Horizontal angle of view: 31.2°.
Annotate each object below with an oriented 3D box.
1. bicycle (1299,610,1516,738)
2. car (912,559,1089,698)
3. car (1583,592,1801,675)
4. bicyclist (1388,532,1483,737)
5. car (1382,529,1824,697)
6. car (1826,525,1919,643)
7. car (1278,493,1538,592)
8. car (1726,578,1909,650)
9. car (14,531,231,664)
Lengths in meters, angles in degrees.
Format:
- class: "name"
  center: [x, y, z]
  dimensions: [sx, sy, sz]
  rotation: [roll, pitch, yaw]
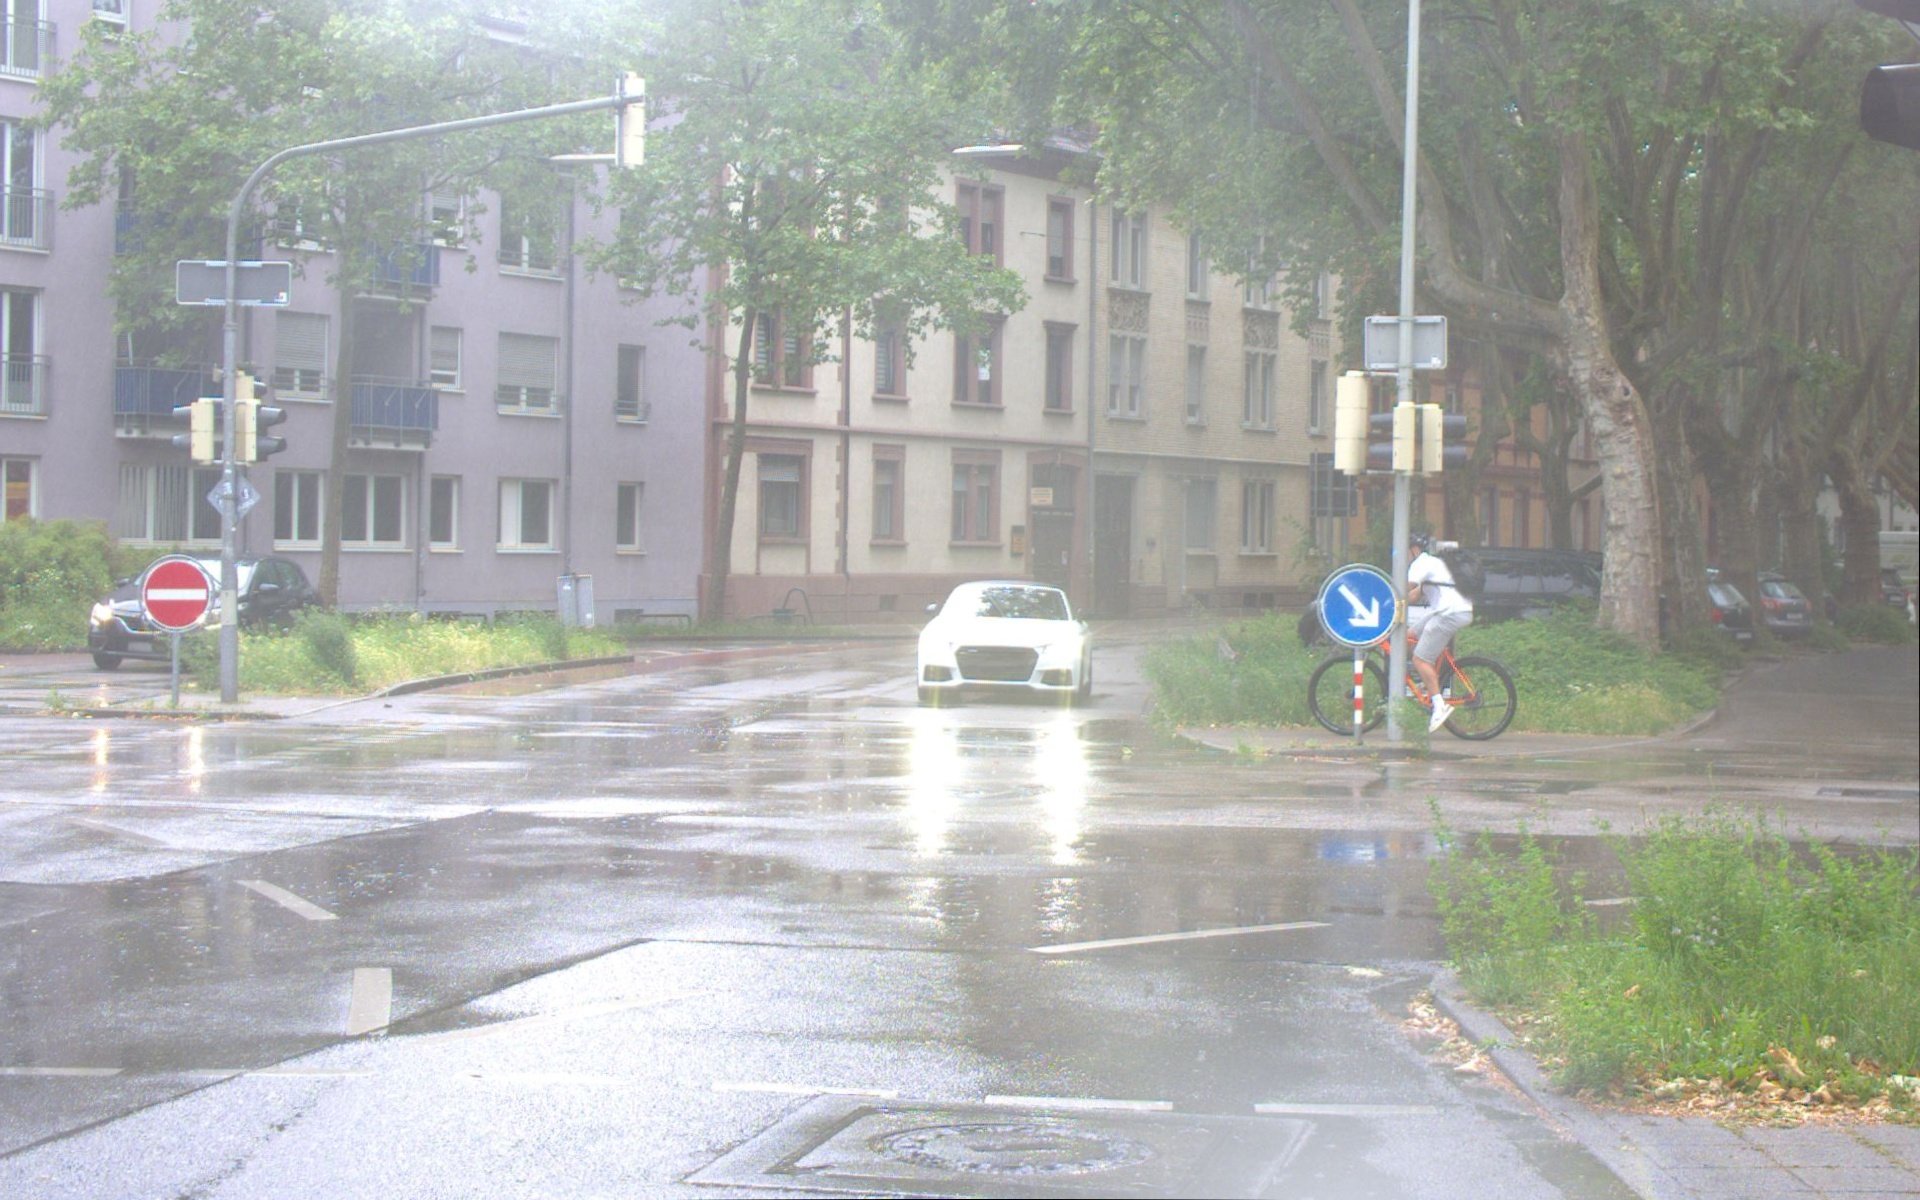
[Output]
- class: "bicycle"
  center: [3.952, 0.646, 30.396]
  dimensions: [1.873, 1.077, 0.657]
  rotation: [1, 0, 8]
- class: "car"
  center: [0.491, 0.283, 39.162]
  dimensions: [1.884, 1.431, 4.000]
  rotation: [1, 1, 1]
- class: "car"
  center: [13.927, 0.625, 65.462]
  dimensions: [3.989, 1.481, 1.999]
  rotation: [1, 1, 12]
- class: "bicyclist"
  center: [4.198, 0.298, 30.362]
  dimensions: [0.795, 1.780, 0.697]
  rotation: [1, 0, 8]
- class: "car"
  center: [6.123, 0.102, 32.714]
  dimensions: [3.989, 1.481, 1.999]
  rotation: [1, 1, 12]
- class: "car"
  center: [24.392, -0.417, 87.716]
  dimensions: [2.033, 2.938, 4.773]
  rotation: [1, 1, -21]
- class: "car"
  center: [7.009, -0.899, 53.625]
  dimensions: [3.868, 1.481, 1.715]
  rotation: [1, 0, 12]
- class: "car"
  center: [19.572, 0.305, 78.654]
  dimensions: [3.989, 1.542, 1.999]
  rotation: [1, 1, 12]
- class: "car"
  center: [-10.046, -0.064, 41.496]
  dimensions: [1.751, 1.506, 3.839]
  rotation: [1, 1, -2]
